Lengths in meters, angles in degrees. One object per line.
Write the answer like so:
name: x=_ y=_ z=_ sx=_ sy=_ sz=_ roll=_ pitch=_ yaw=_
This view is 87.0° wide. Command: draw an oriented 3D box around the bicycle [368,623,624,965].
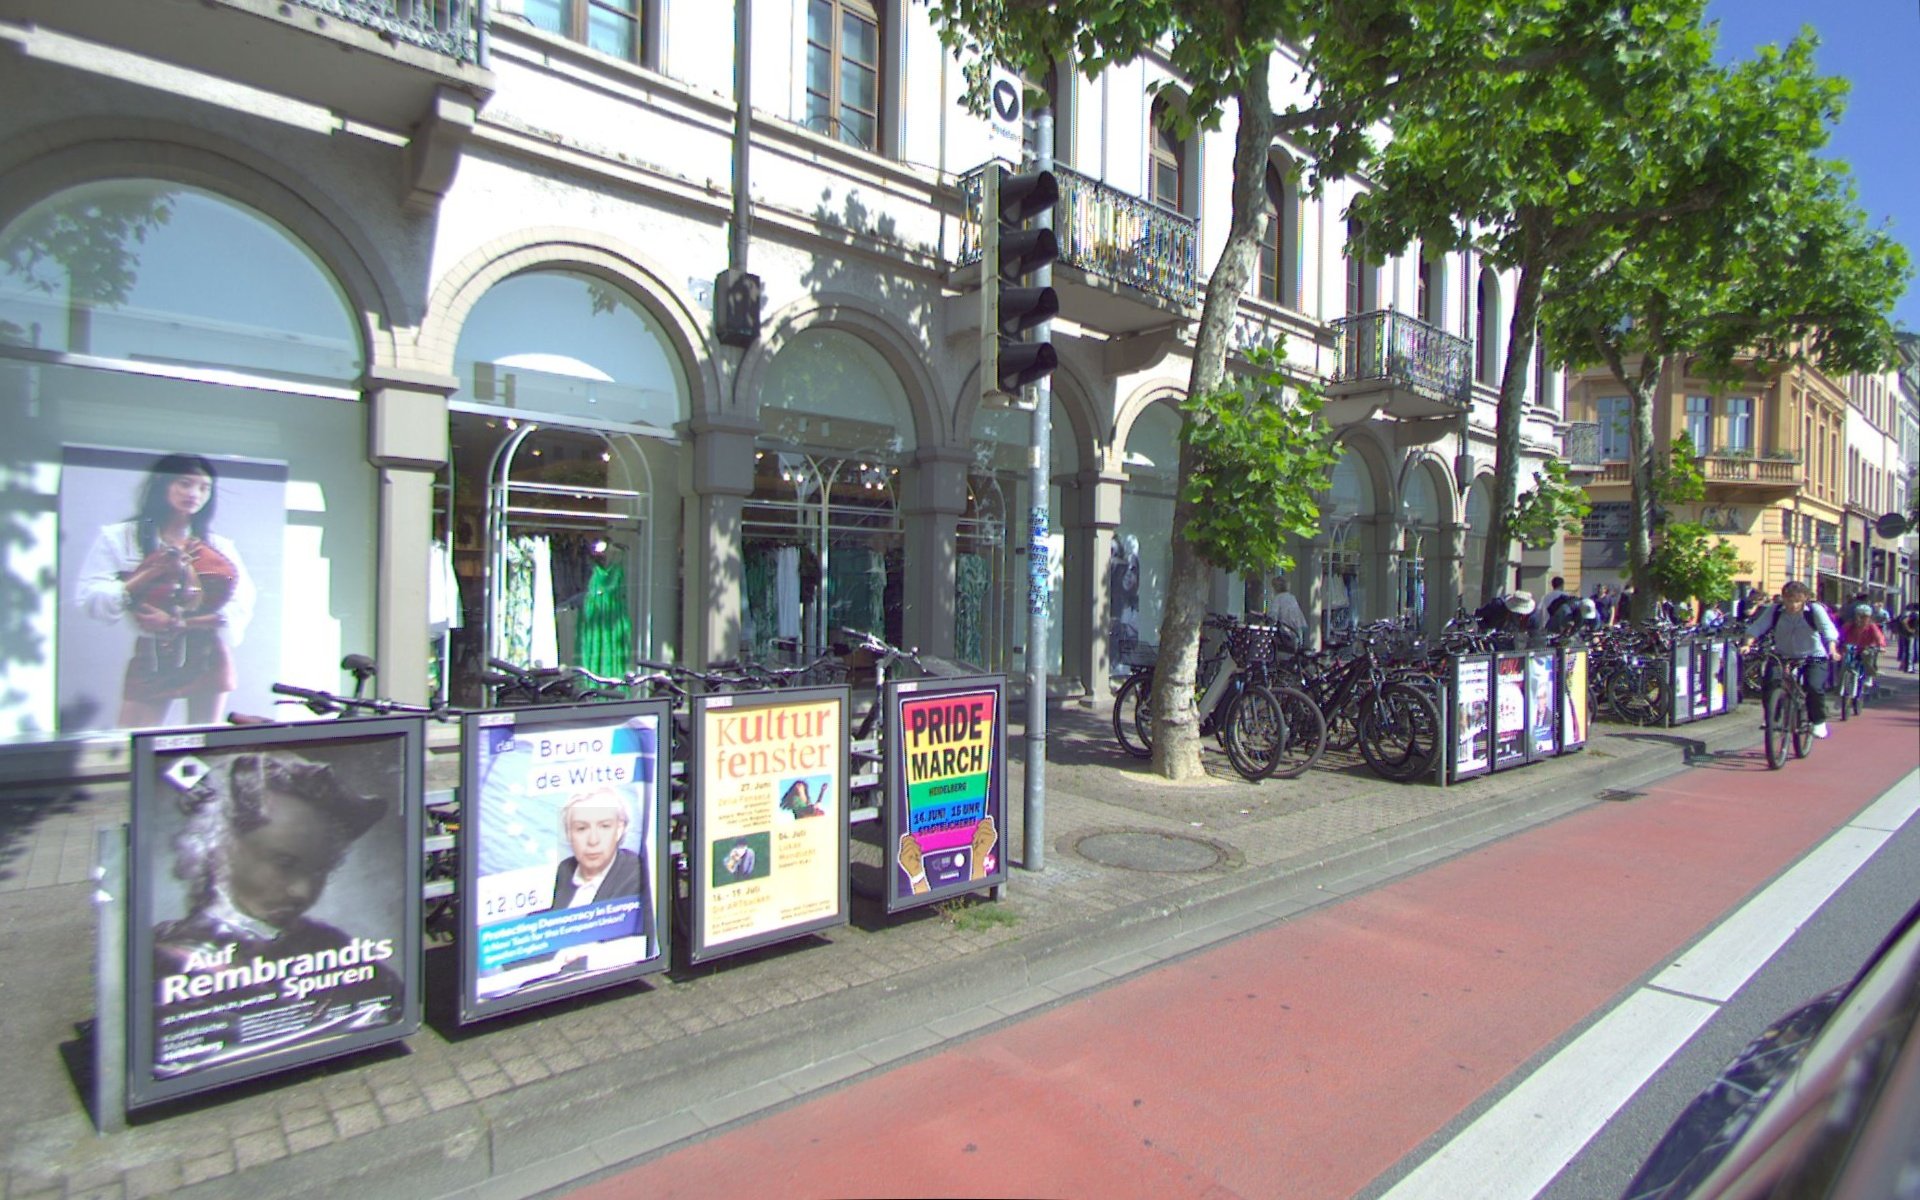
bicycle: x=-2.015 y=0.679 z=4.259 sx=0.474 sy=1.101 sz=1.755 roll=1 pitch=0 yaw=-42

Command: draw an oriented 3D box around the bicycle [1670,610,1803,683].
bicycle: x=13.496 y=0.778 z=17.629 sx=0.582 sy=1.161 sz=1.755 roll=1 pitch=0 yaw=-42

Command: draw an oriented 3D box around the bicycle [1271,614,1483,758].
bicycle: x=3.754 y=0.727 z=9.240 sx=0.474 sy=1.161 sz=1.755 roll=1 pitch=0 yaw=-42

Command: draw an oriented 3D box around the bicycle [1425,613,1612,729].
bicycle: x=6.253 y=0.755 z=11.408 sx=0.582 sy=1.161 sz=1.755 roll=1 pitch=0 yaw=-42

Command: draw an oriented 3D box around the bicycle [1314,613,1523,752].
bicycle: x=4.286 y=0.726 z=9.571 sx=0.474 sy=1.161 sz=1.755 roll=1 pitch=0 yaw=-42

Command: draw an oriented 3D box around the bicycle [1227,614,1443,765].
bicycle: x=3.239 y=0.727 z=8.883 sx=0.474 sy=1.161 sz=1.755 roll=1 pitch=0 yaw=-42

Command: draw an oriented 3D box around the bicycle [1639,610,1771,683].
bicycle: x=12.824 y=0.771 z=17.467 sx=0.582 sy=1.173 sz=1.755 roll=1 pitch=0 yaw=-42

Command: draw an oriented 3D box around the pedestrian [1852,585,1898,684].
pedestrian: x=17.791 y=0.660 z=19.683 sx=0.706 sy=1.869 sz=0.577 roll=1 pitch=-2 yaw=-44

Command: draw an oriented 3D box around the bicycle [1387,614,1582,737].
bicycle: x=5.546 y=0.754 z=10.783 sx=0.582 sy=1.161 sz=1.755 roll=1 pitch=0 yaw=-42

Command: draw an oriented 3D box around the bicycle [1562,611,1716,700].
bicycle: x=9.762 y=0.763 z=14.607 sx=0.582 sy=1.161 sz=1.755 roll=1 pitch=0 yaw=-42

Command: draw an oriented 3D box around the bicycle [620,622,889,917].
bicycle: x=-1.080 y=0.717 z=4.997 sx=0.474 sy=1.161 sz=1.755 roll=1 pitch=0 yaw=-42

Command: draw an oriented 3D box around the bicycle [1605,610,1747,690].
bicycle: x=11.336 y=0.767 z=16.063 sx=0.582 sy=1.161 sz=1.755 roll=1 pitch=0 yaw=-42

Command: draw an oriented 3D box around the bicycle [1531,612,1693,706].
bicycle: x=8.803 y=0.761 z=13.715 sx=0.582 sy=1.161 sz=1.755 roll=1 pitch=0 yaw=-42

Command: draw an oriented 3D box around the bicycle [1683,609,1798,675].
bicycle: x=14.791 y=0.776 z=19.206 sx=0.514 sy=1.161 sz=1.658 roll=1 pitch=0 yaw=-42

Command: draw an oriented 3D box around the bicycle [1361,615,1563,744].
bicycle: x=5.062 y=0.752 z=10.299 sx=0.582 sy=1.161 sz=1.755 roll=1 pitch=0 yaw=-42

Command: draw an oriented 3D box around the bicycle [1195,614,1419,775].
bicycle: x=2.844 y=0.725 z=8.453 sx=0.474 sy=1.161 sz=1.755 roll=1 pitch=0 yaw=-42

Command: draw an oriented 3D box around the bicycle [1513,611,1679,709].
bicycle: x=8.304 y=0.744 z=13.278 sx=0.582 sy=1.161 sz=1.755 roll=1 pitch=0 yaw=-42

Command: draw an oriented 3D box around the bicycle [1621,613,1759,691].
bicycle: x=11.882 y=0.810 z=16.517 sx=0.582 sy=1.161 sz=1.755 roll=1 pitch=0 yaw=-42

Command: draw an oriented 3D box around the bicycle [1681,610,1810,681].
bicycle: x=14.014 y=0.780 z=18.090 sx=0.582 sy=1.161 sz=1.755 roll=1 pitch=0 yaw=-42

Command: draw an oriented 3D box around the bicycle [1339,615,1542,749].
bicycle: x=4.666 y=0.752 z=9.928 sx=0.474 sy=1.161 sz=1.755 roll=1 pitch=0 yaw=-42

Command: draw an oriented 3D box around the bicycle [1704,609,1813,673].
bicycle: x=15.598 y=0.779 z=19.798 sx=0.418 sy=1.161 sz=1.630 roll=1 pitch=0 yaw=-42

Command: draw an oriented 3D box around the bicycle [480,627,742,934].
bicycle: x=-1.652 y=0.697 z=4.604 sx=0.474 sy=1.082 sz=1.755 roll=1 pitch=0 yaw=-42

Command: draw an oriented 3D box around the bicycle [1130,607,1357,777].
bicycle: x=2.248 y=0.677 z=8.236 sx=0.474 sy=1.209 sz=1.802 roll=1 pitch=0 yaw=-42

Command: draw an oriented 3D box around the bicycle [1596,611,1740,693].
bicycle: x=10.875 y=0.766 z=15.594 sx=0.509 sy=1.161 sz=1.755 roll=1 pitch=0 yaw=-42

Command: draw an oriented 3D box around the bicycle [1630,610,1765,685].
bicycle: x=12.398 y=0.770 z=17.055 sx=0.582 sy=1.161 sz=1.755 roll=1 pitch=0 yaw=-42

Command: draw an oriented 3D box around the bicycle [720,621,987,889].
bicycle: x=-0.635 y=0.718 z=5.407 sx=0.474 sy=1.161 sz=1.755 roll=1 pitch=0 yaw=-42

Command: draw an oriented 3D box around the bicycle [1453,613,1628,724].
bicycle: x=6.744 y=0.756 z=11.833 sx=0.510 sy=1.161 sz=1.705 roll=1 pitch=0 yaw=-42

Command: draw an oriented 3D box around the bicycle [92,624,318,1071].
bicycle: x=-2.726 y=0.694 z=3.579 sx=0.474 sy=1.161 sz=1.755 roll=1 pitch=0 yaw=-42

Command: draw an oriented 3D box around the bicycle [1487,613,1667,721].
bicycle: x=7.351 y=0.761 z=12.122 sx=0.582 sy=1.161 sz=1.755 roll=1 pitch=0 yaw=-42

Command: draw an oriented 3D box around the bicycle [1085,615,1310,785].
bicycle: x=1.819 y=0.721 z=7.992 sx=0.474 sy=1.161 sz=1.776 roll=1 pitch=0 yaw=-42

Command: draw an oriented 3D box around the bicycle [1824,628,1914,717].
bicycle: x=12.390 y=0.950 z=13.774 sx=1.788 sy=1.107 sz=0.735 roll=1 pitch=-1 yaw=-42

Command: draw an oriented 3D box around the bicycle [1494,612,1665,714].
bicycle: x=7.787 y=0.752 z=12.781 sx=0.582 sy=1.161 sz=1.755 roll=1 pitch=0 yaw=-42

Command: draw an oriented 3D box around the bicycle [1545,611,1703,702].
bicycle: x=9.248 y=0.752 z=14.149 sx=0.582 sy=1.161 sz=1.755 roll=1 pitch=0 yaw=-42

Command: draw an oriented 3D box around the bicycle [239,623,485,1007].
bicycle: x=-2.375 y=0.677 z=3.919 sx=0.474 sy=1.119 sz=1.755 roll=1 pitch=0 yaw=-42

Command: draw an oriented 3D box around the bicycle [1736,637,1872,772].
bicycle: x=8.064 y=0.938 z=9.645 sx=1.865 sy=1.107 sz=0.735 roll=0 pitch=-1 yaw=-42
